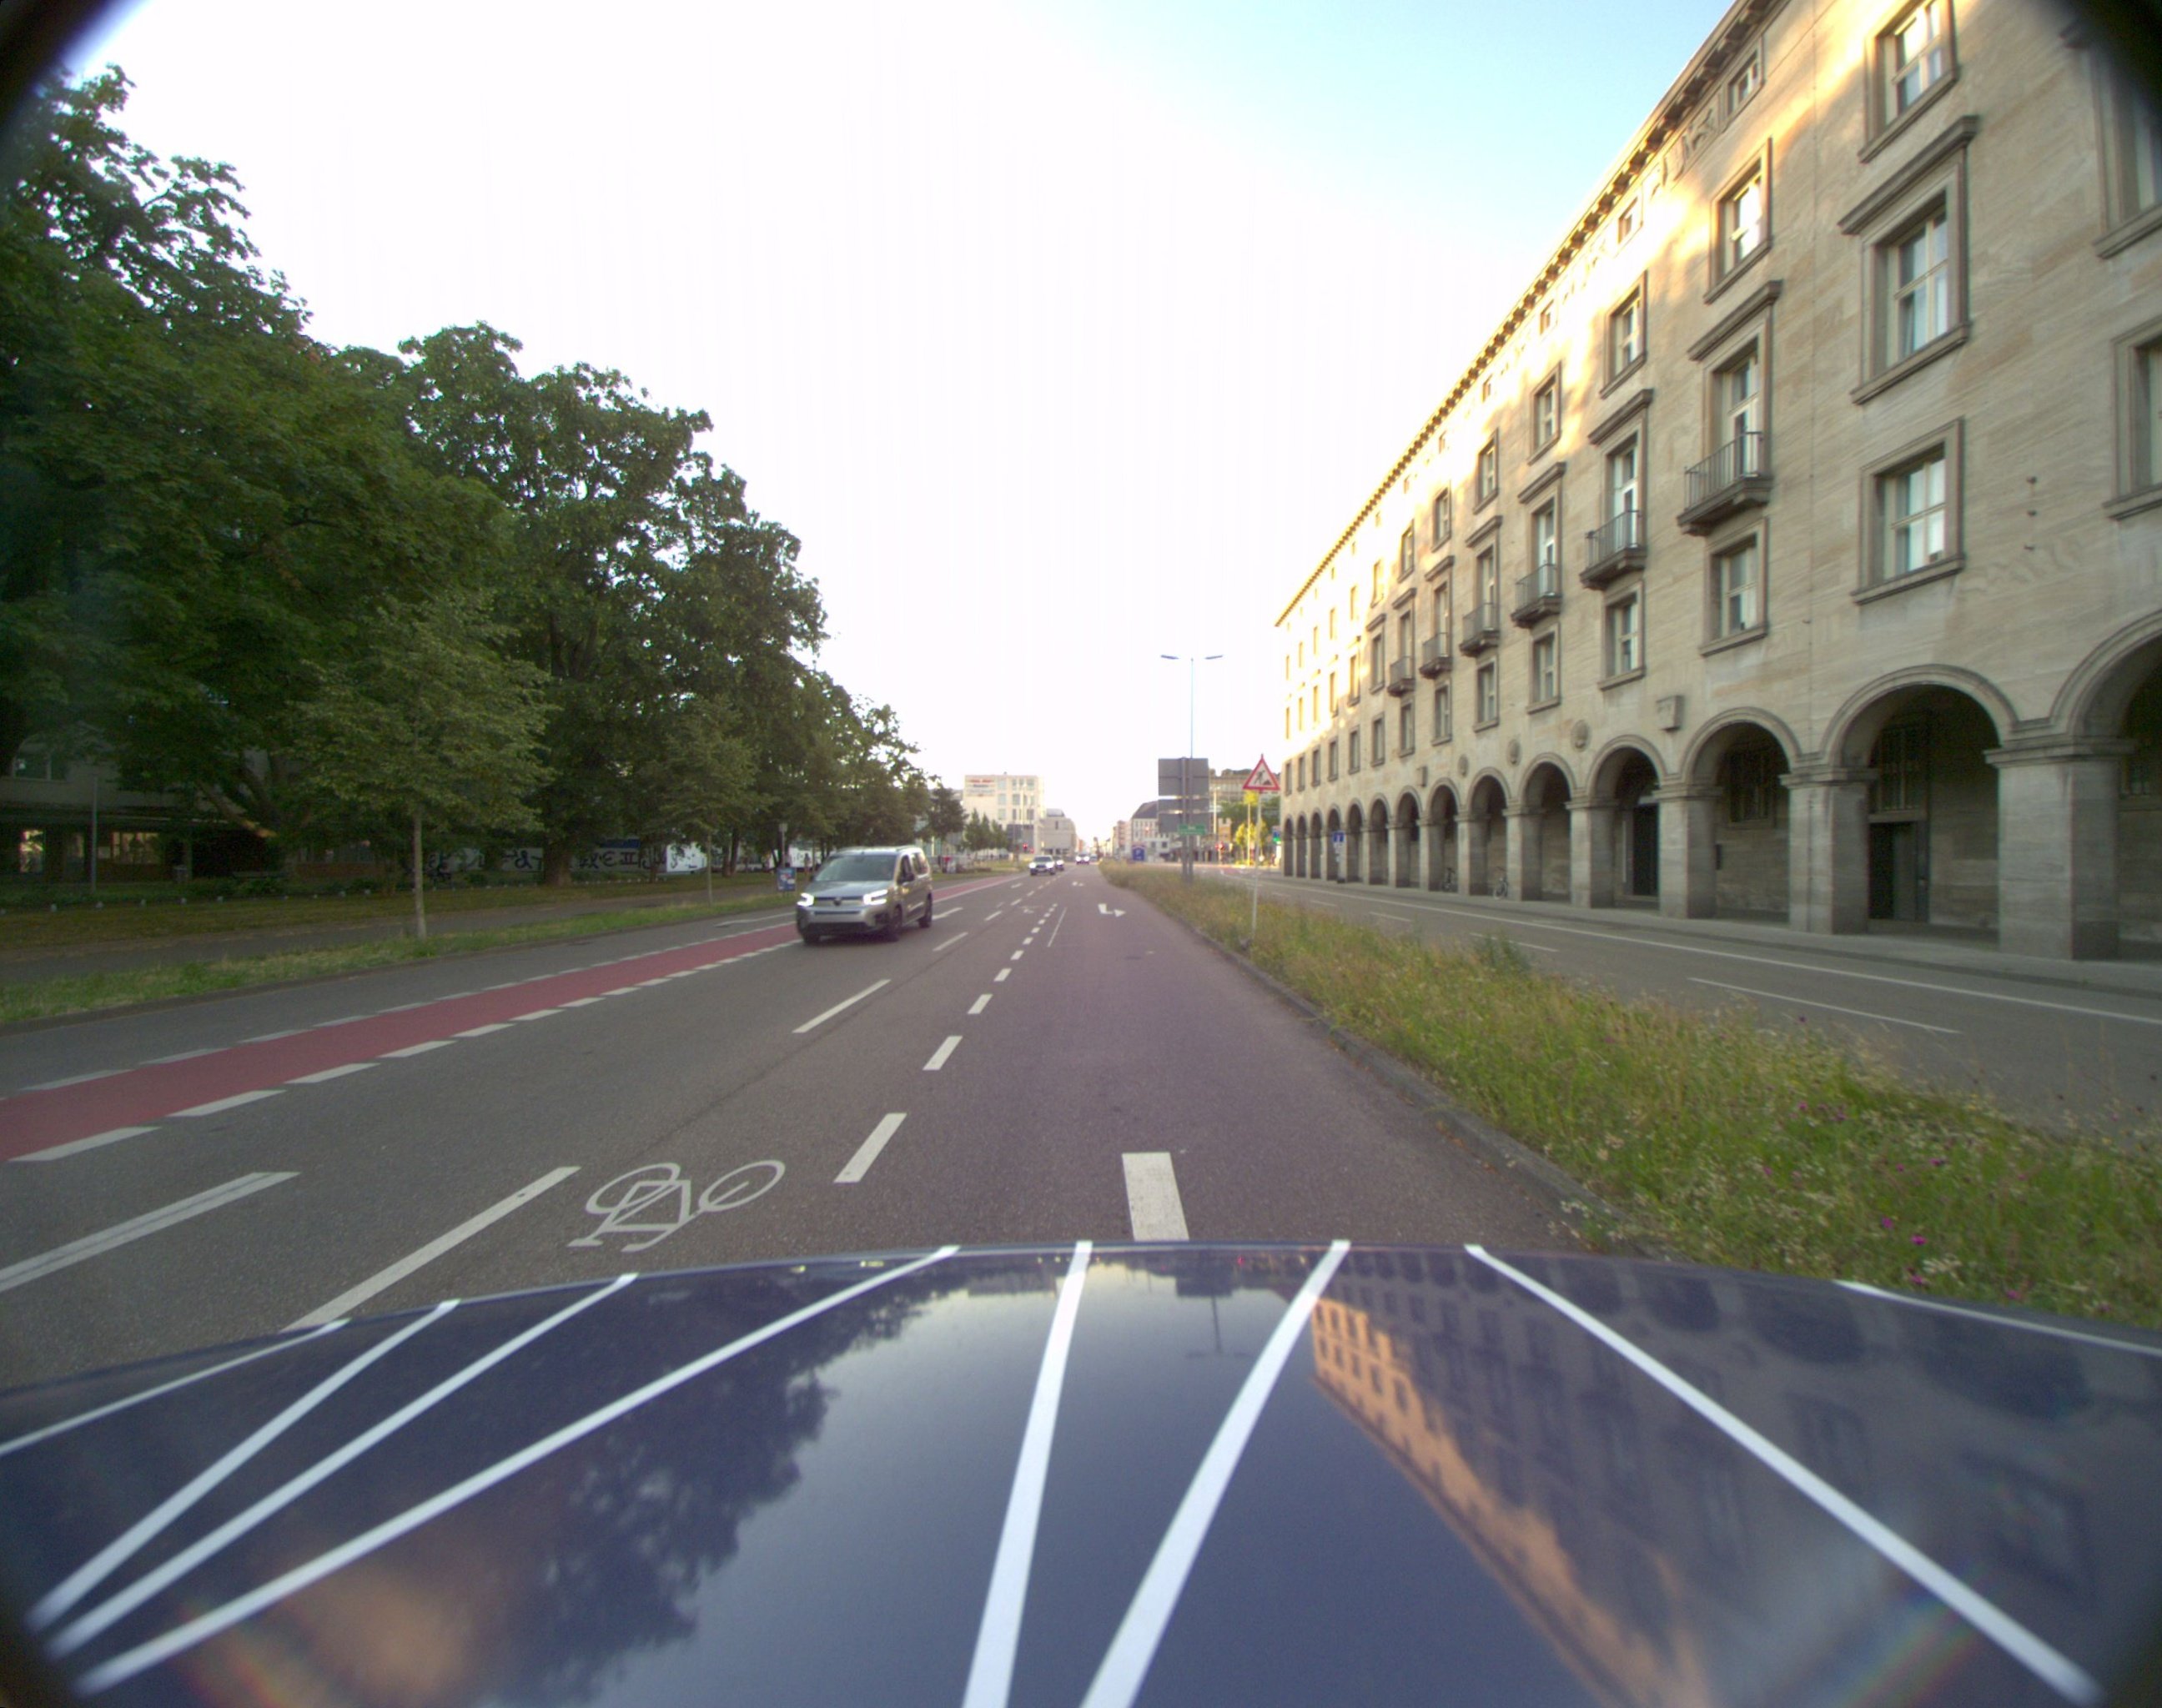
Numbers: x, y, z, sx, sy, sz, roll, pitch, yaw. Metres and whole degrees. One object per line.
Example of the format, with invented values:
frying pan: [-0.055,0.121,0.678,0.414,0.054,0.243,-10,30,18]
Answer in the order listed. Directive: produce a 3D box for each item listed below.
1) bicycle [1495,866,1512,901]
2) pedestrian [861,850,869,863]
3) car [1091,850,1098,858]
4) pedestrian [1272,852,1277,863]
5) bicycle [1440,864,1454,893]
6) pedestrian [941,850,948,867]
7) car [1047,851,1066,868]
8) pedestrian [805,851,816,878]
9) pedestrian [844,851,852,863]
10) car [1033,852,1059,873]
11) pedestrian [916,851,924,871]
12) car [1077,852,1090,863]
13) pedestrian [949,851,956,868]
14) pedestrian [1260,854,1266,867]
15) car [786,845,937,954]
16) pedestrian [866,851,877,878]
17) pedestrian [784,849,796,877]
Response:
bicycle: [15.314,1.050,27.525,0.513,1.115,2.427,0,1,30]
pedestrian: [-22.860,0.267,80.538,0.662,1.347,0.559,0,1,1]
car: [4.166,0.072,226.955,1.998,2.297,5.090,0,0,2]
pedestrian: [25.568,0.438,100.543,0.526,1.532,0.390,0,1,1]
bicycle: [15.474,1.014,32.136,0.513,1.172,2.427,0,0,25]
pedestrian: [-14.373,0.498,79.745,0.638,1.747,0.506,0,1,1]
car: [-2.460,0.566,77.522,1.782,1.617,4.215,-1,0,1]
pedestrian: [-15.746,0.617,44.213,0.500,1.592,0.365,0,1,1]
pedestrian: [-24.777,0.310,80.644,0.631,1.347,0.681,0,1,1]
car: [-2.860,0.647,62.438,1.826,1.612,4.336,-2,0,0]
pedestrian: [-14.292,0.598,67.431,0.509,1.720,0.719,0,1,1]
car: [0.398,0.481,111.127,1.781,1.676,4.216,0,0,3]
pedestrian: [-13.494,0.551,79.696,0.638,1.747,0.506,0,1,1]
pedestrian: [24.152,0.898,100.756,0.638,1.747,0.506,0,1,1]
car: [-4.282,0.799,15.573,1.767,1.877,4.499,-1,0,0]
pedestrian: [-13.382,0.652,48.468,0.558,1.729,0.555,0,1,1]
pedestrian: [-16.690,0.515,43.577,0.500,1.592,0.522,0,1,1]
